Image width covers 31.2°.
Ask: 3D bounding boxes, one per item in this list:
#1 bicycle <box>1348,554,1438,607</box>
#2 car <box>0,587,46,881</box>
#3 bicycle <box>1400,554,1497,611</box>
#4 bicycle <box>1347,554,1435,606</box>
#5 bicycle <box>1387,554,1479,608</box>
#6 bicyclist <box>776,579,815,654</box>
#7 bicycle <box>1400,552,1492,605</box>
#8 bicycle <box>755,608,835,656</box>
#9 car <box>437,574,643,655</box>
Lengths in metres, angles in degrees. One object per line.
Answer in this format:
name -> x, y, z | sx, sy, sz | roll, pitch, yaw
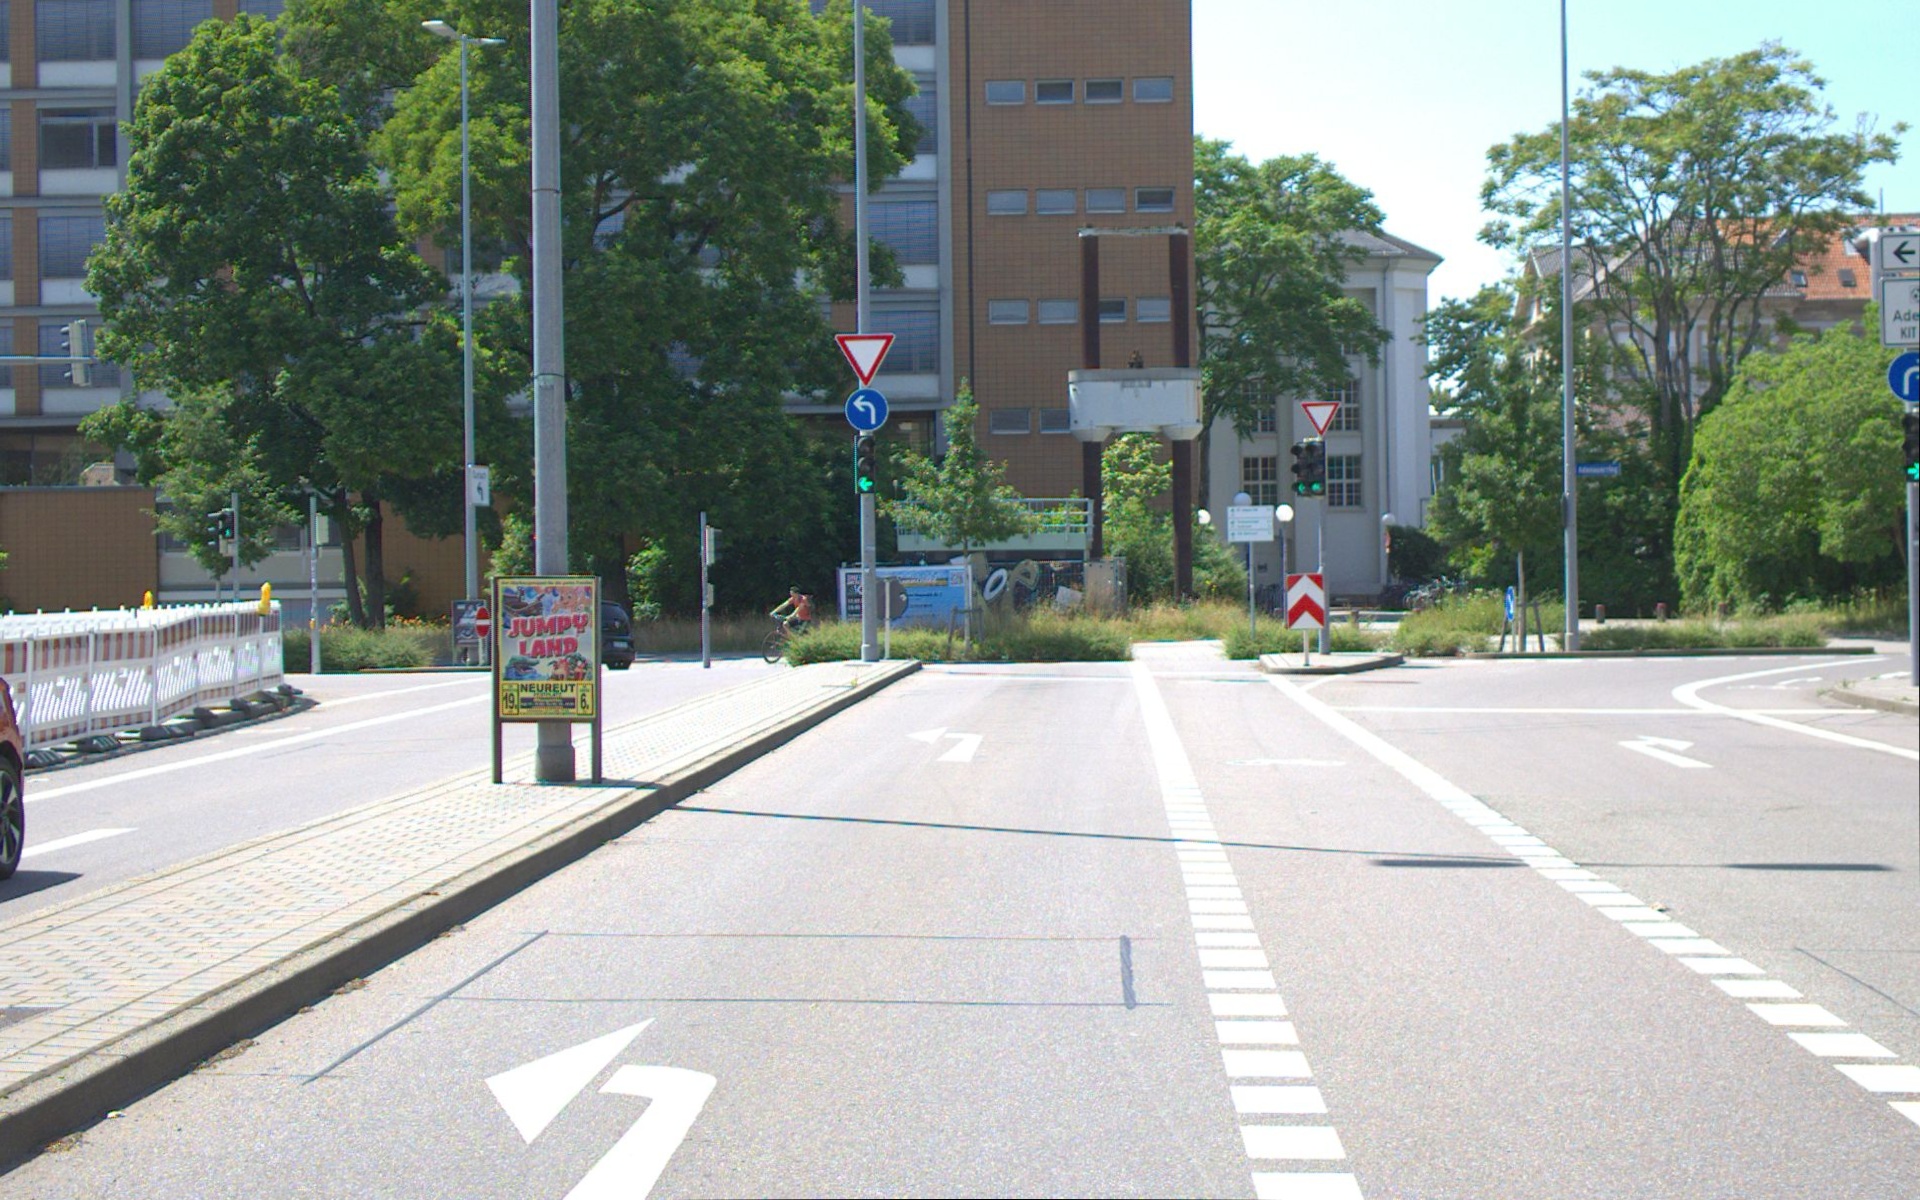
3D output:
bicycle -> 17.102, -0.770, 135.780 | 3.447, 2.007, 0.760 | 1, 0, 5
car -> -5.408, 0.669, 14.747 | 1.688, 1.373, 4.013 | -3, 0, 3
bicycle -> 17.950, -0.635, 126.465 | 3.447, 2.007, 0.760 | 1, 0, 5
bicycle -> 17.312, -0.821, 138.168 | 3.447, 2.007, 0.760 | 1, 0, 5
bicycle -> 18.226, -0.730, 132.605 | 3.447, 2.007, 0.760 | 1, 0, 5
bicyclist -> -3.775, 0.373, 78.999 | 0.551, 1.710, 0.701 | 1, 2, 44
bicycle -> 18.927, -0.833, 133.967 | 3.447, 2.007, 0.760 | 1, 0, 5
bicycle -> -3.784, 0.724, 78.992 | 0.558, 1.042, 1.992 | 1, 2, 44
car -> -8.486, 0.285, 69.542 | 3.765, 1.547, 1.617 | 1, 0, 14
